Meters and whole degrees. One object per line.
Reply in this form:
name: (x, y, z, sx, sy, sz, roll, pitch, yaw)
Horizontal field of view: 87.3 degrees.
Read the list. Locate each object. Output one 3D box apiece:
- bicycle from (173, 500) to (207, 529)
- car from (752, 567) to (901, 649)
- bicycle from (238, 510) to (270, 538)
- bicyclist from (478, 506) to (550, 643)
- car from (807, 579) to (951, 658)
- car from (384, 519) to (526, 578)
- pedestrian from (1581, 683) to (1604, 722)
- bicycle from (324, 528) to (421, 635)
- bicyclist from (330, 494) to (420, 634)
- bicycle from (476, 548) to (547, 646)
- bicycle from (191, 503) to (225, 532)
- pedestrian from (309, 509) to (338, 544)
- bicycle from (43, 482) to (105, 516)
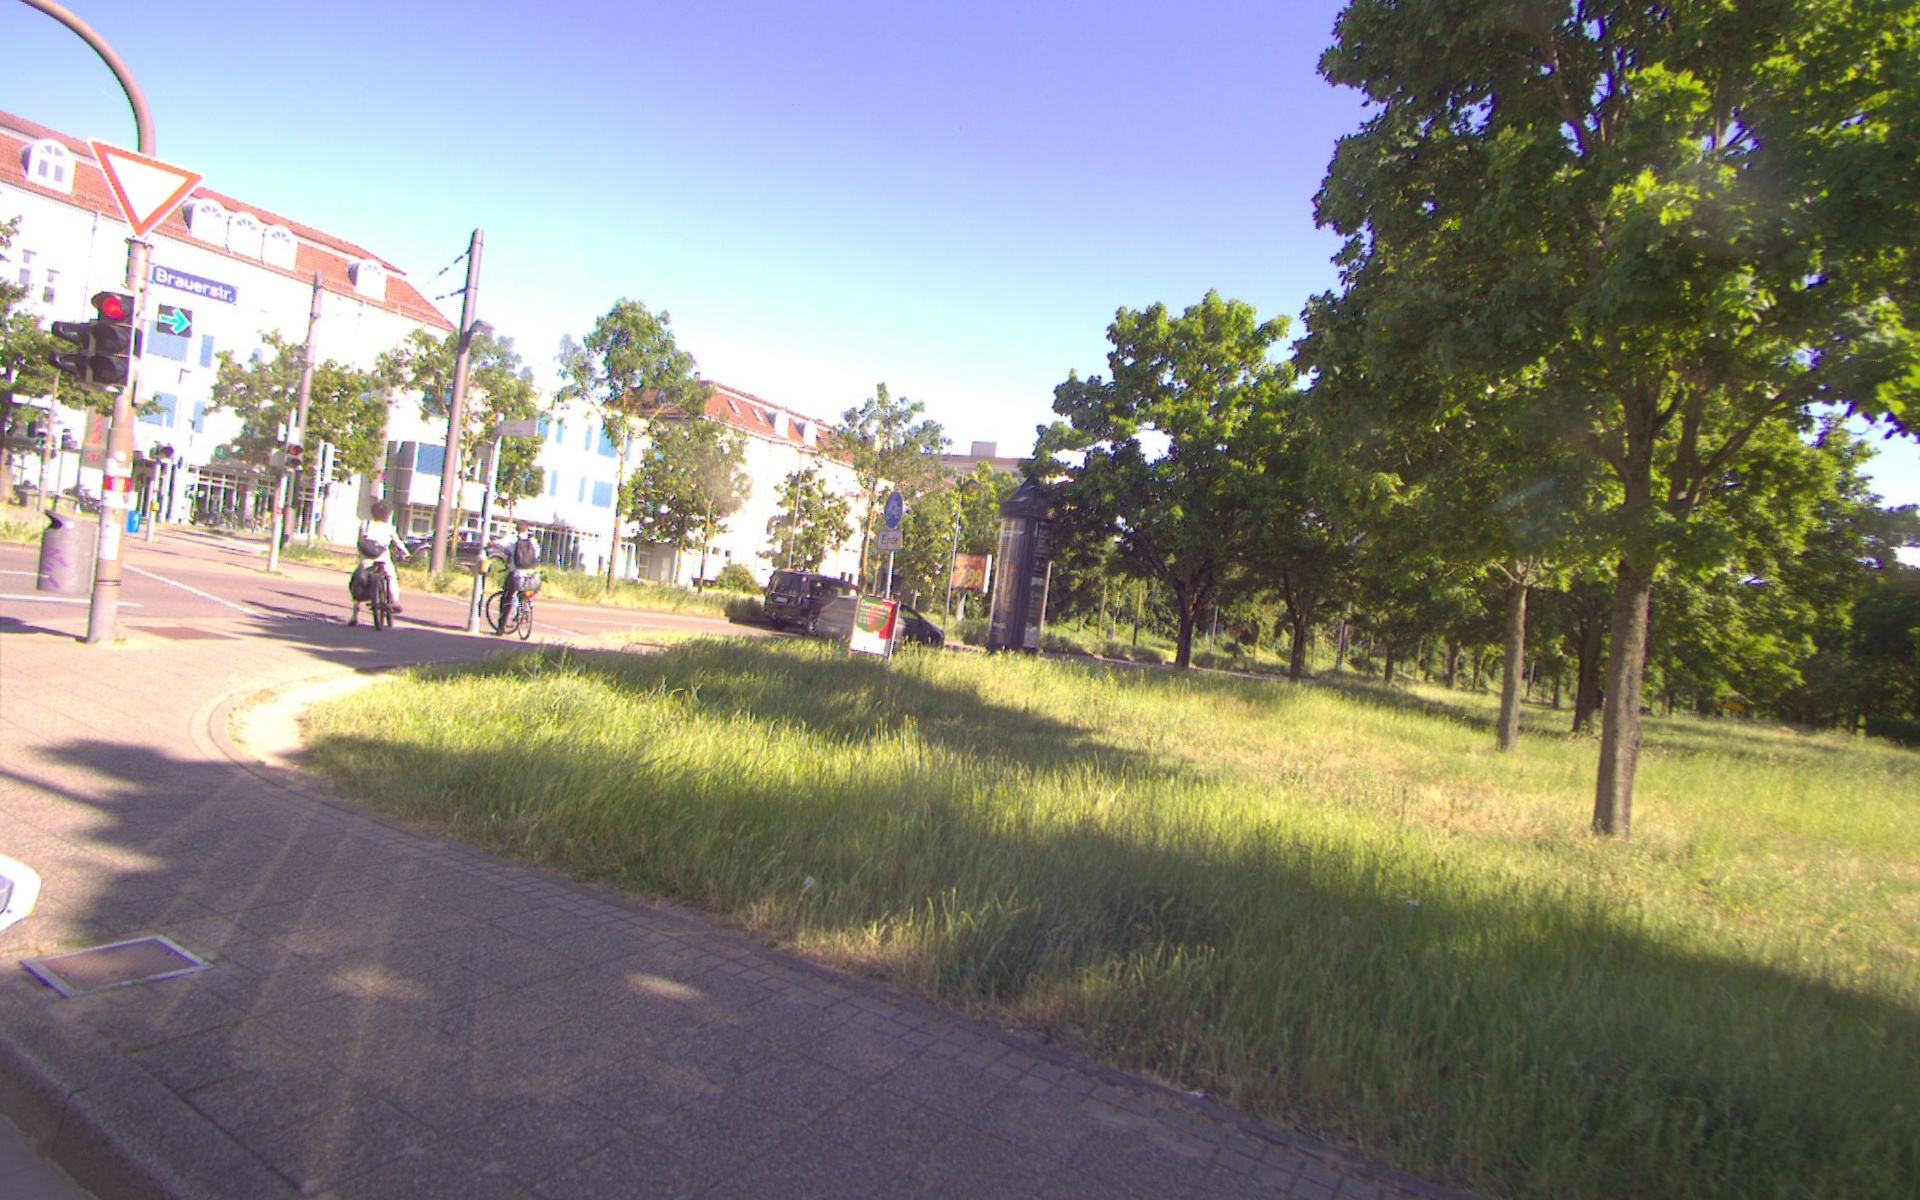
bicycle: (-37.483, -4.163, 48.951, 1.837, 1.197, 0.561, 8, 1, 29)
car: (-4.033, 0.302, 31.094, 1.738, 1.820, 4.487, 7, -3, 37)
bicycle: (-36.014, -3.873, 51.297, 1.839, 1.197, 0.561, 8, 1, 32)
bicyclist: (-6.962, -0.400, 15.761, 0.782, 1.983, 1.006, 7, 1, -22)
car: (-2.188, 0.566, 28.052, 1.668, 1.595, 3.862, 7, -3, 38)
car: (-19.774, -1.982, 39.546, 1.971, 1.629, 4.498, 8, 0, 39)
pedestrian: (30.217, 4.902, 48.044, 0.728, 1.748, 0.887, 8, 1, 34)
bicycle: (-8.501, -0.290, 14.647, 0.782, 1.364, 2.068, 7, 0, -21)
bicyclist: (-8.444, -0.515, 14.571, 0.782, 1.847, 1.129, 7, 1, -22)
bicycle: (-7.086, -0.082, 15.991, 0.782, 1.364, 2.251, 7, 0, -21)
bicycle: (-37.297, -4.094, 49.885, 1.837, 1.197, 0.561, 8, 1, 29)
pedestrian: (-34.670, -4.011, 54.798, 0.643, 1.744, 0.991, 8, 1, 29)
bicycle: (-38.910, -4.422, 44.197, 0.552, 1.197, 1.868, 8, 0, 26)
